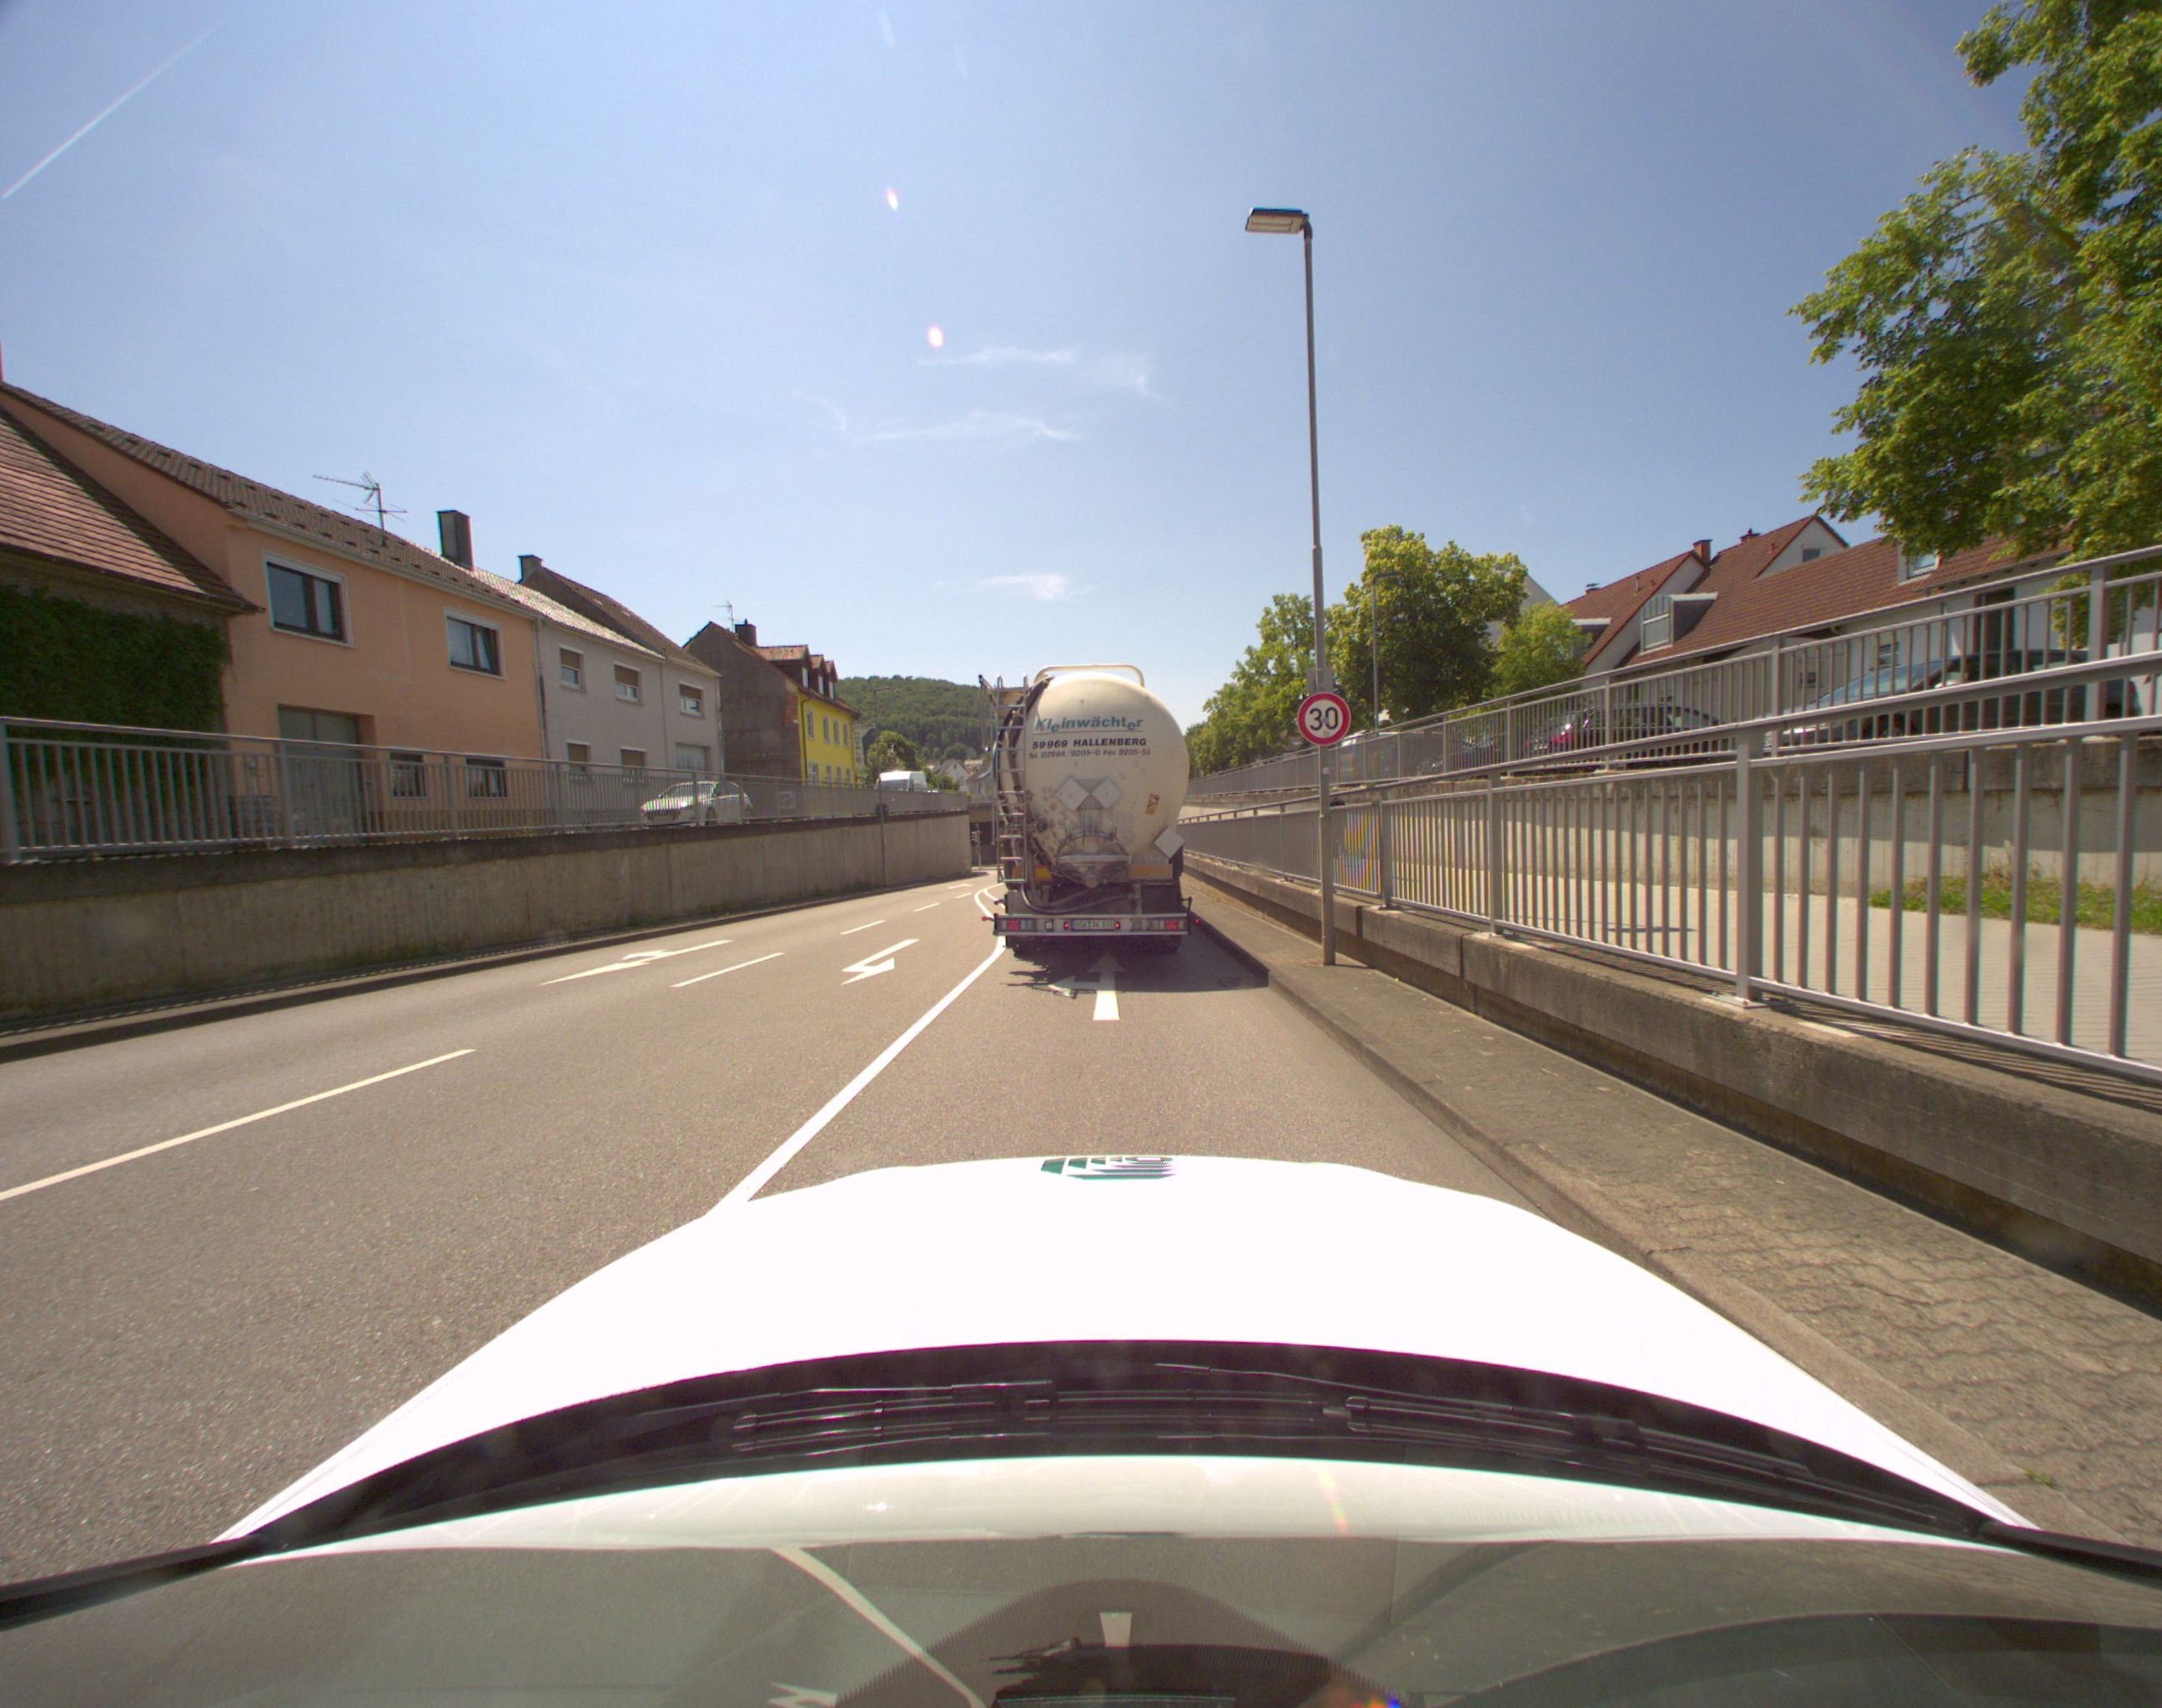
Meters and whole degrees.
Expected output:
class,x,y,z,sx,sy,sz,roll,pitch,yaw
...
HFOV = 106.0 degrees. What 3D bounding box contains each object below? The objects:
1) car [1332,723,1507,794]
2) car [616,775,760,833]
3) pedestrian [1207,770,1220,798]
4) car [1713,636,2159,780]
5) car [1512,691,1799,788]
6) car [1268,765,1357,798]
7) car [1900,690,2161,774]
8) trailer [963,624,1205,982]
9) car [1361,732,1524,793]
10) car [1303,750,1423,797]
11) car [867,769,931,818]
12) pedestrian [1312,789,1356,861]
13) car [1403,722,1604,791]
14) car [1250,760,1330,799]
class,x,y,z,sx,sy,sz,roll,pitch,yaw
car,11.341,-3.169,27.547,5.092,2.063,1.990,-2,3,2
car,-10.903,-1.414,22.986,1.806,1.462,4.313,-1,3,2
pedestrian,8.727,-4.604,53.631,0.670,1.779,0.595,-2,3,3
car,10.986,-1.838,10.721,3.971,1.498,1.750,-2,3,2
car,10.662,-2.097,15.337,4.188,1.498,1.688,-2,3,2
car,11.196,-3.515,39.544,3.890,1.367,1.688,-2,3,2
car,22.090,-2.791,18.876,4.389,1.489,1.759,-4,3,1
trailer,0.334,-0.588,16.005,2.724,4.064,13.321,-1,0,3
car,10.899,-2.742,24.727,4.188,1.595,1.688,-2,3,2
car,11.103,-3.174,32.253,4.188,1.595,1.688,-2,3,2
car,-10.080,-3.336,45.607,2.058,2.535,5.665,-1,3,2
pedestrian,6.458,-0.730,20.789,0.833,1.781,0.789,-2,1,2
car,10.770,-2.469,20.979,4.268,1.498,1.750,-2,3,2
car,11.363,-4.057,44.415,3.890,1.884,1.688,-2,3,2
